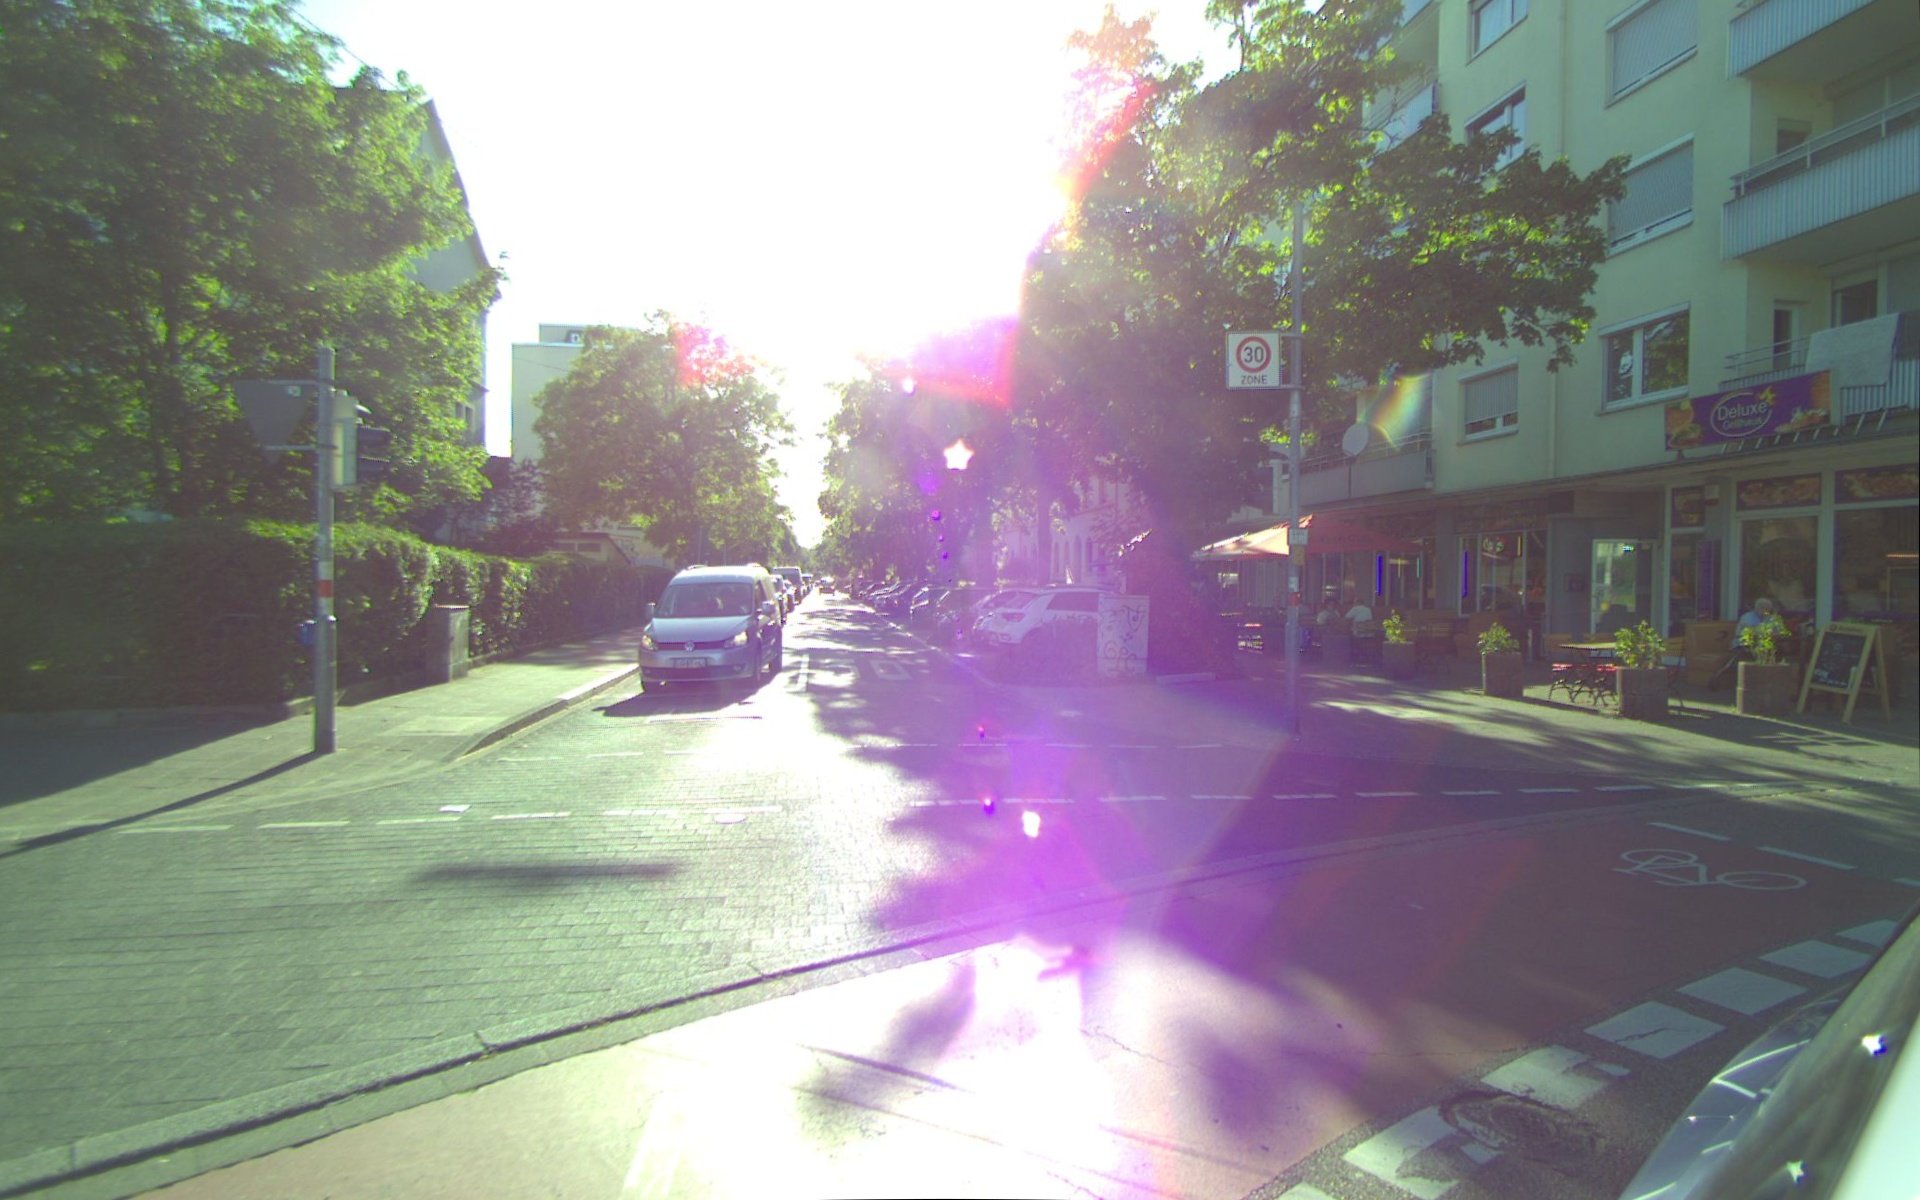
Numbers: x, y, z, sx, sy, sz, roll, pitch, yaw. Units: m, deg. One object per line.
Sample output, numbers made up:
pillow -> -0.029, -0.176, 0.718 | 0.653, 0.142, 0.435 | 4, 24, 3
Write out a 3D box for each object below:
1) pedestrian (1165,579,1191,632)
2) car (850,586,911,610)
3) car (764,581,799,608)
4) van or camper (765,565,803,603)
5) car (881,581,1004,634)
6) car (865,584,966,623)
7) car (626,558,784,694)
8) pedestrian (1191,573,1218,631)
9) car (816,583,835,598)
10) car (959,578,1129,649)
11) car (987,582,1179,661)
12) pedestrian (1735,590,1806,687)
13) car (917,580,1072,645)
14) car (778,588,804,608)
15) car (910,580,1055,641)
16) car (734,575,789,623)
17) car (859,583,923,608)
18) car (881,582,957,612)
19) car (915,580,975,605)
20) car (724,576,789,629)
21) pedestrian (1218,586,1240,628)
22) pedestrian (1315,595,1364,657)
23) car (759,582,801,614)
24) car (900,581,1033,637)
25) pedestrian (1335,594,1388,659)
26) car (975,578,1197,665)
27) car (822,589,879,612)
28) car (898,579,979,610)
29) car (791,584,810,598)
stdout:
pedestrian -> 7.304, 0.187, 33.874 | 0.708, 1.730, 0.539 | 1, 0, -4
car -> -5.300, -0.139, 67.289 | 3.791, 1.499, 1.719 | 1, 0, -11
car -> -10.818, -0.359, 61.656 | 1.959, 1.549, 4.006 | 1, 1, -8
van or camper -> -11.749, -1.065, 67.816 | 2.323, 2.367, 5.022 | 1, 1, -8
car -> -0.605, 0.241, 33.380 | 3.791, 1.638, 1.719 | 1, 0, -11
car -> -1.794, 0.129, 40.537 | 3.791, 1.499, 1.719 | 1, 0, -11
car -> -3.913, 0.323, 16.206 | 1.770, 1.836, 4.194 | -2, 1, -5
pedestrian -> 7.853, 0.063, 32.531 | 0.660, 1.834, 0.539 | 1, 0, -4
car -> -14.428, -0.976, 108.337 | 1.959, 1.549, 4.006 | 1, 1, -8
car -> 2.020, 0.313, 24.726 | 3.791, 1.638, 1.719 | 1, 0, -11
car -> 2.664, 0.454, 22.314 | 3.823, 1.638, 1.719 | 1, 0, -11
pedestrian -> 11.569, 0.536, 14.454 | 0.595, 1.358, 0.494 | 1, 0, -8
car -> 0.886, 0.324, 26.942 | 3.791, 1.638, 1.719 | 1, 0, -11
car -> -14.132, -0.198, 84.789 | 1.959, 1.549, 4.006 | 1, 1, -8
car -> 0.603, 0.289, 28.725 | 3.791, 1.638, 1.719 | 1, 0, -11
car -> -8.068, -0.048, 41.382 | 1.959, 1.838, 4.334 | 1, 1, -8
car -> -4.302, -0.283, 63.146 | 3.791, 1.499, 1.719 | 1, 0, -11
car -> -2.189, -0.179, 53.509 | 3.791, 1.499, 1.719 | 1, 0, -11
car -> -1.008, -0.508, 68.066 | 3.791, 1.610, 1.719 | 1, 0, -11
car -> -7.033, 0.055, 35.314 | 1.959, 1.749, 4.006 | 1, 1, -8
pedestrian -> 8.860, 0.226, 33.378 | 0.561, 1.377, 0.673 | 1, 0, 4
pedestrian -> 7.781, 0.528, 20.771 | 0.647, 1.234, 0.741 | 1, 0, -9
car -> -9.263, -0.124, 52.342 | 1.959, 1.549, 4.006 | 1, 1, -8
car -> 0.162, 0.275, 31.124 | 3.791, 1.638, 1.719 | 1, 0, -11
pedestrian -> 7.853, 0.513, 19.813 | 0.647, 1.234, 0.741 | 1, 0, -9
car -> 2.418, 0.414, 19.831 | 3.951, 1.601, 1.713 | 1, 0, -12
car -> -7.742, 0.021, 71.350 | 3.791, 1.499, 1.719 | 1, 0, -11
car -> -1.105, -0.271, 51.239 | 3.791, 1.499, 1.719 | 1, 0, -11
car -> -17.684, -1.015, 112.320 | 1.959, 1.549, 4.006 | 1, 1, -8
